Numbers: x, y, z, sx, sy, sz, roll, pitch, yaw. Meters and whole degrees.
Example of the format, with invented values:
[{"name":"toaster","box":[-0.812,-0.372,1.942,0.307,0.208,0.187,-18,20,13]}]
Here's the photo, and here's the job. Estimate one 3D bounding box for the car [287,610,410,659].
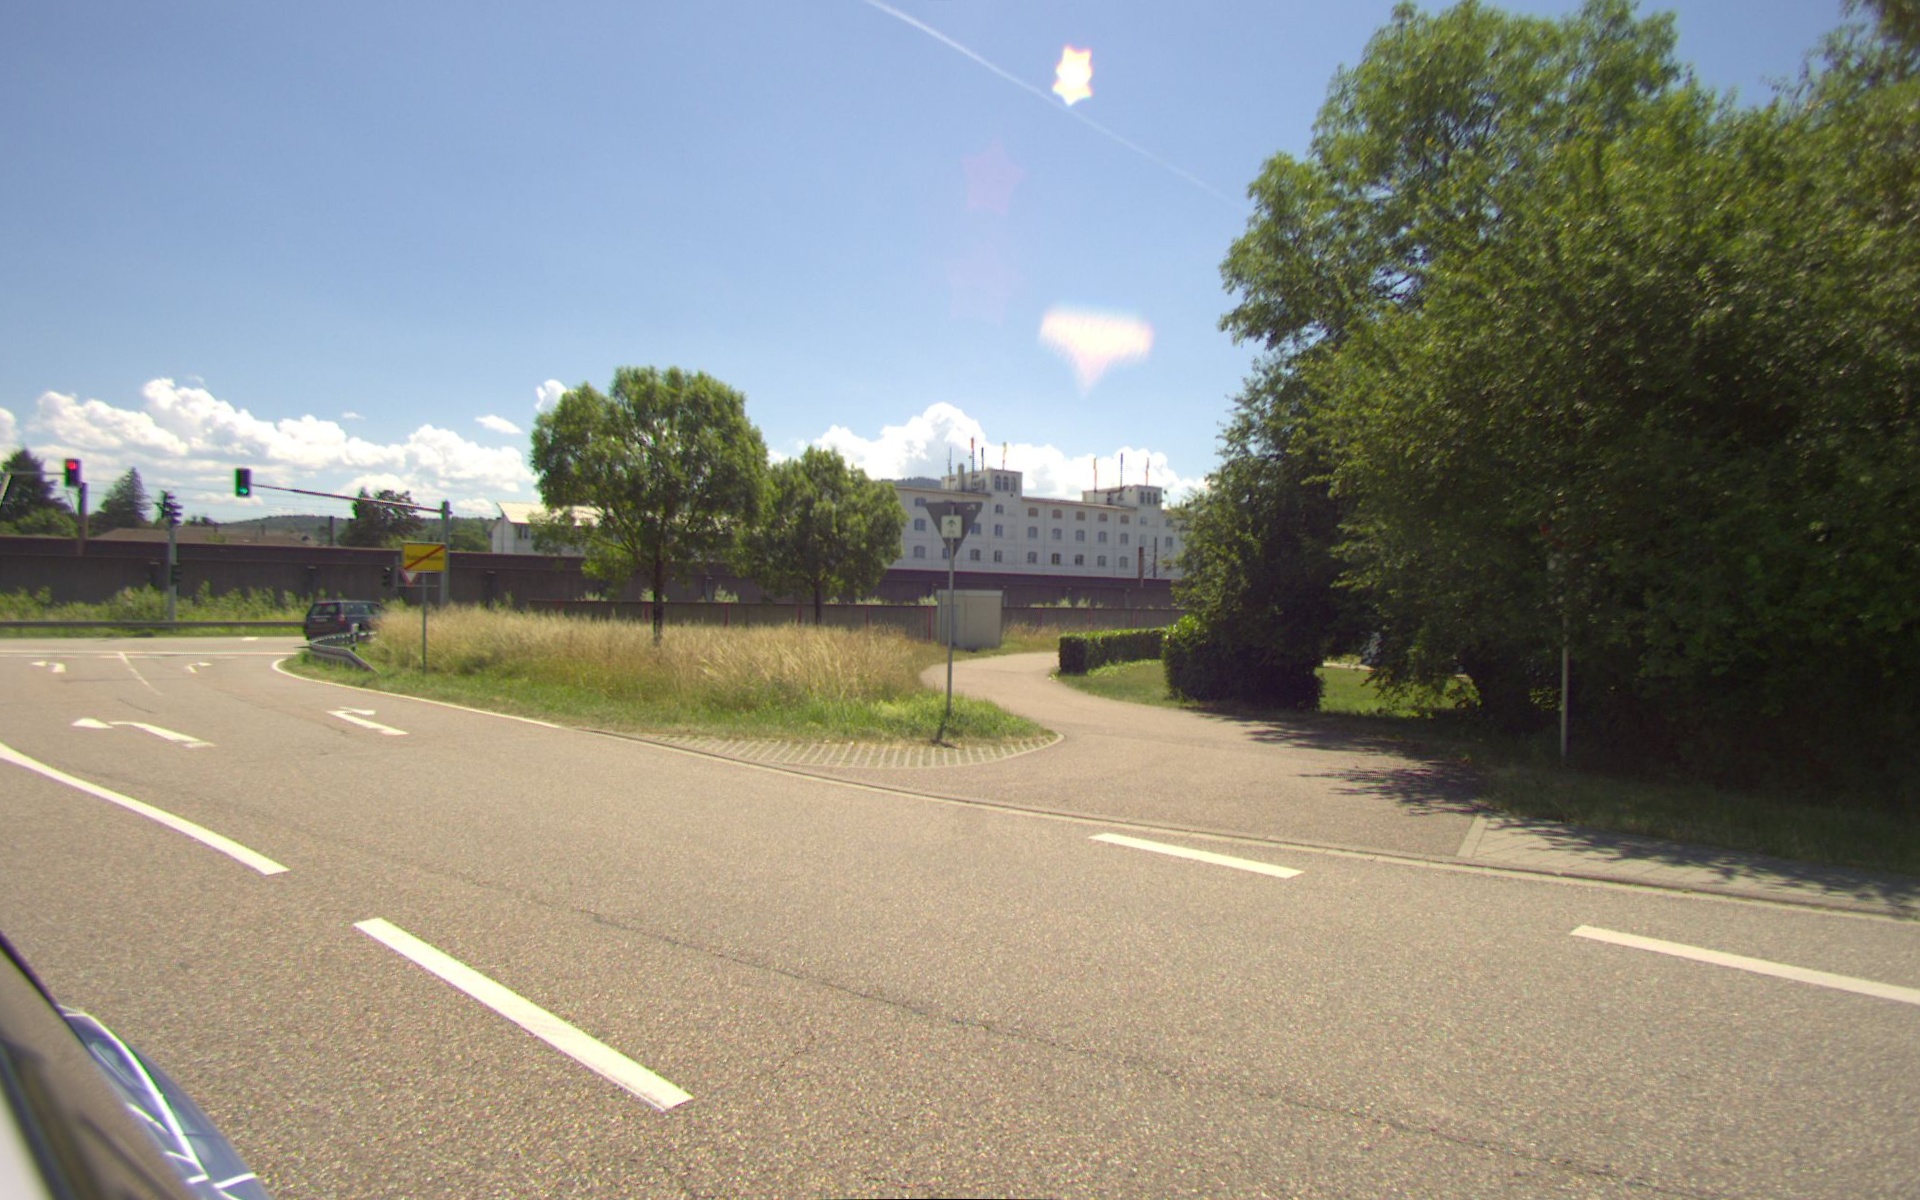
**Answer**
[{"name":"car","box":[-24.201,1.306,40.255,1.974,1.735,4.480,2,0,3]}]
